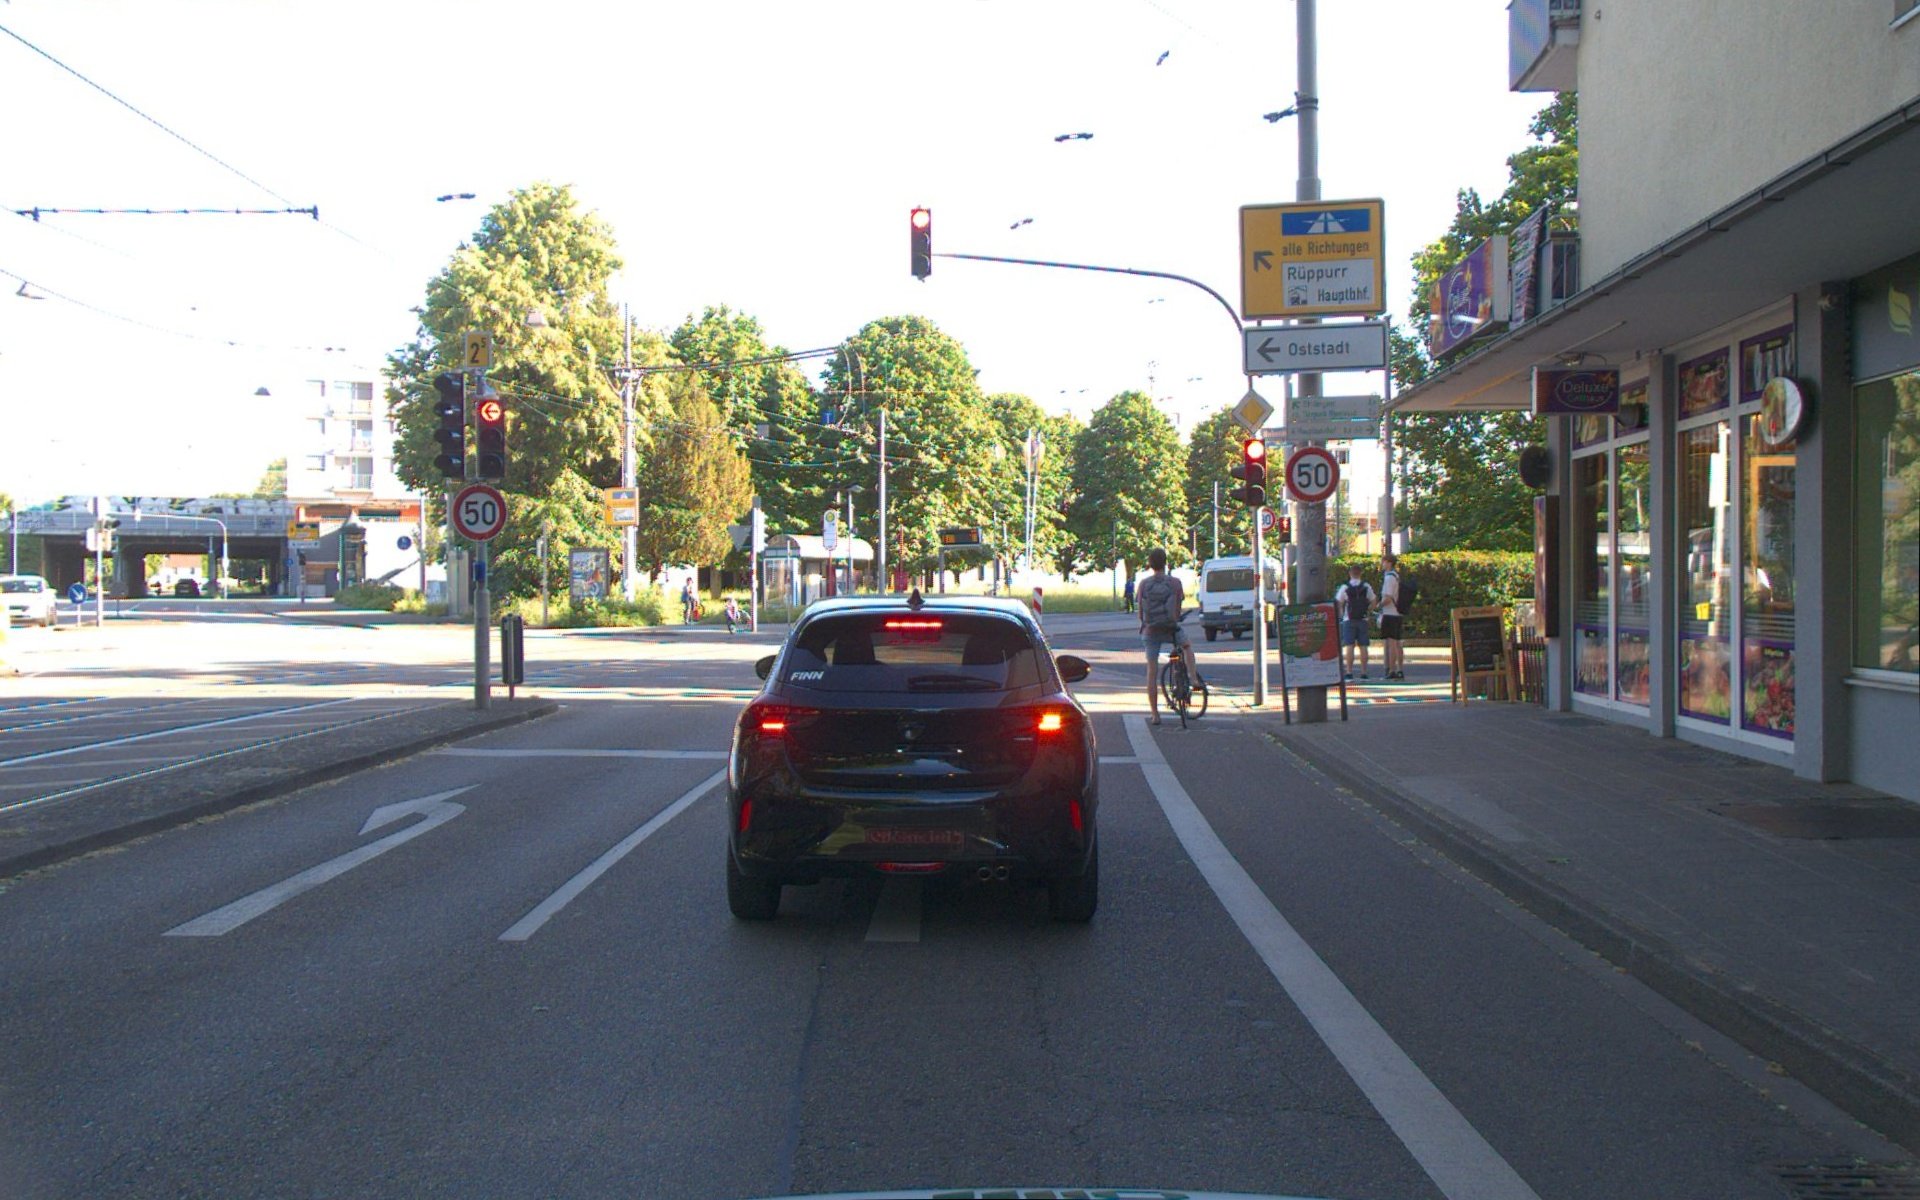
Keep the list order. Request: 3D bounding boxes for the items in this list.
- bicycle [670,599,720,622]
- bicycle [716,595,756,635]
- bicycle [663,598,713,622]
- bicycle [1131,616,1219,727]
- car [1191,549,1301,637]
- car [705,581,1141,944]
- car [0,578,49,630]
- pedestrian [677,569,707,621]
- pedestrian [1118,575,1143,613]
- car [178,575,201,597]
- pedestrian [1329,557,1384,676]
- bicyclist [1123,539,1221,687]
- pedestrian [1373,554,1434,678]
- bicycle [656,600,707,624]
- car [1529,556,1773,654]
[{"bbox_3d":[-10.495,0.409,65.533,1.837,0.922,0.660,0,0,6],"label":"bicycle"},{"bbox_3d":[-6.280,0.403,46.535,0.808,1.078,1.883,0,1,2],"label":"bicycle"},{"bbox_3d":[-10.629,0.404,64.660,1.837,0.922,0.660,0,0,6],"label":"bicycle"},{"bbox_3d":[2.299,0.741,17.929,0.653,1.078,2.082,0,1,-1],"label":"bicycle"},{"bbox_3d":[8.033,-0.177,46.151,2.047,2.317,4.304,1,0,23],"label":"car"},{"bbox_3d":[-0.125,0.640,8.701,1.763,1.466,3.940,0,1,1],"label":"car"},{"bbox_3d":[-31.490,0.093,55.094,1.972,1.660,4.586,-1,1,-29],"label":"car"},{"bbox_3d":[-8.977,-0.159,55.428,0.695,1.722,0.716,-1,0,-43],"label":"pedestrian"},{"bbox_3d":[8.082,-0.291,78.392,0.939,1.824,0.995,0,0,25],"label":"pedestrian"},{"bbox_3d":[-76.157,-1.382,163.448,1.970,2.049,3.965,1,0,-27],"label":"car"},{"bbox_3d":[6.128,0.250,25.588,0.684,1.823,0.617,0,0,-1],"label":"pedestrian"},{"bbox_3d":[2.275,0.124,17.878,0.823,1.536,1.368,0,0,-3],"label":"bicyclist"},{"bbox_3d":[6.876,0.235,25.619,0.691,1.878,0.697,0,0,39],"label":"pedestrian"},{"bbox_3d":[-10.708,0.459,63.674,1.837,0.922,0.660,0,0,6],"label":"bicycle"},{"bbox_3d":[13.546,0.127,32.640,4.087,1.846,1.807,0,-2,8],"label":"car"}]
